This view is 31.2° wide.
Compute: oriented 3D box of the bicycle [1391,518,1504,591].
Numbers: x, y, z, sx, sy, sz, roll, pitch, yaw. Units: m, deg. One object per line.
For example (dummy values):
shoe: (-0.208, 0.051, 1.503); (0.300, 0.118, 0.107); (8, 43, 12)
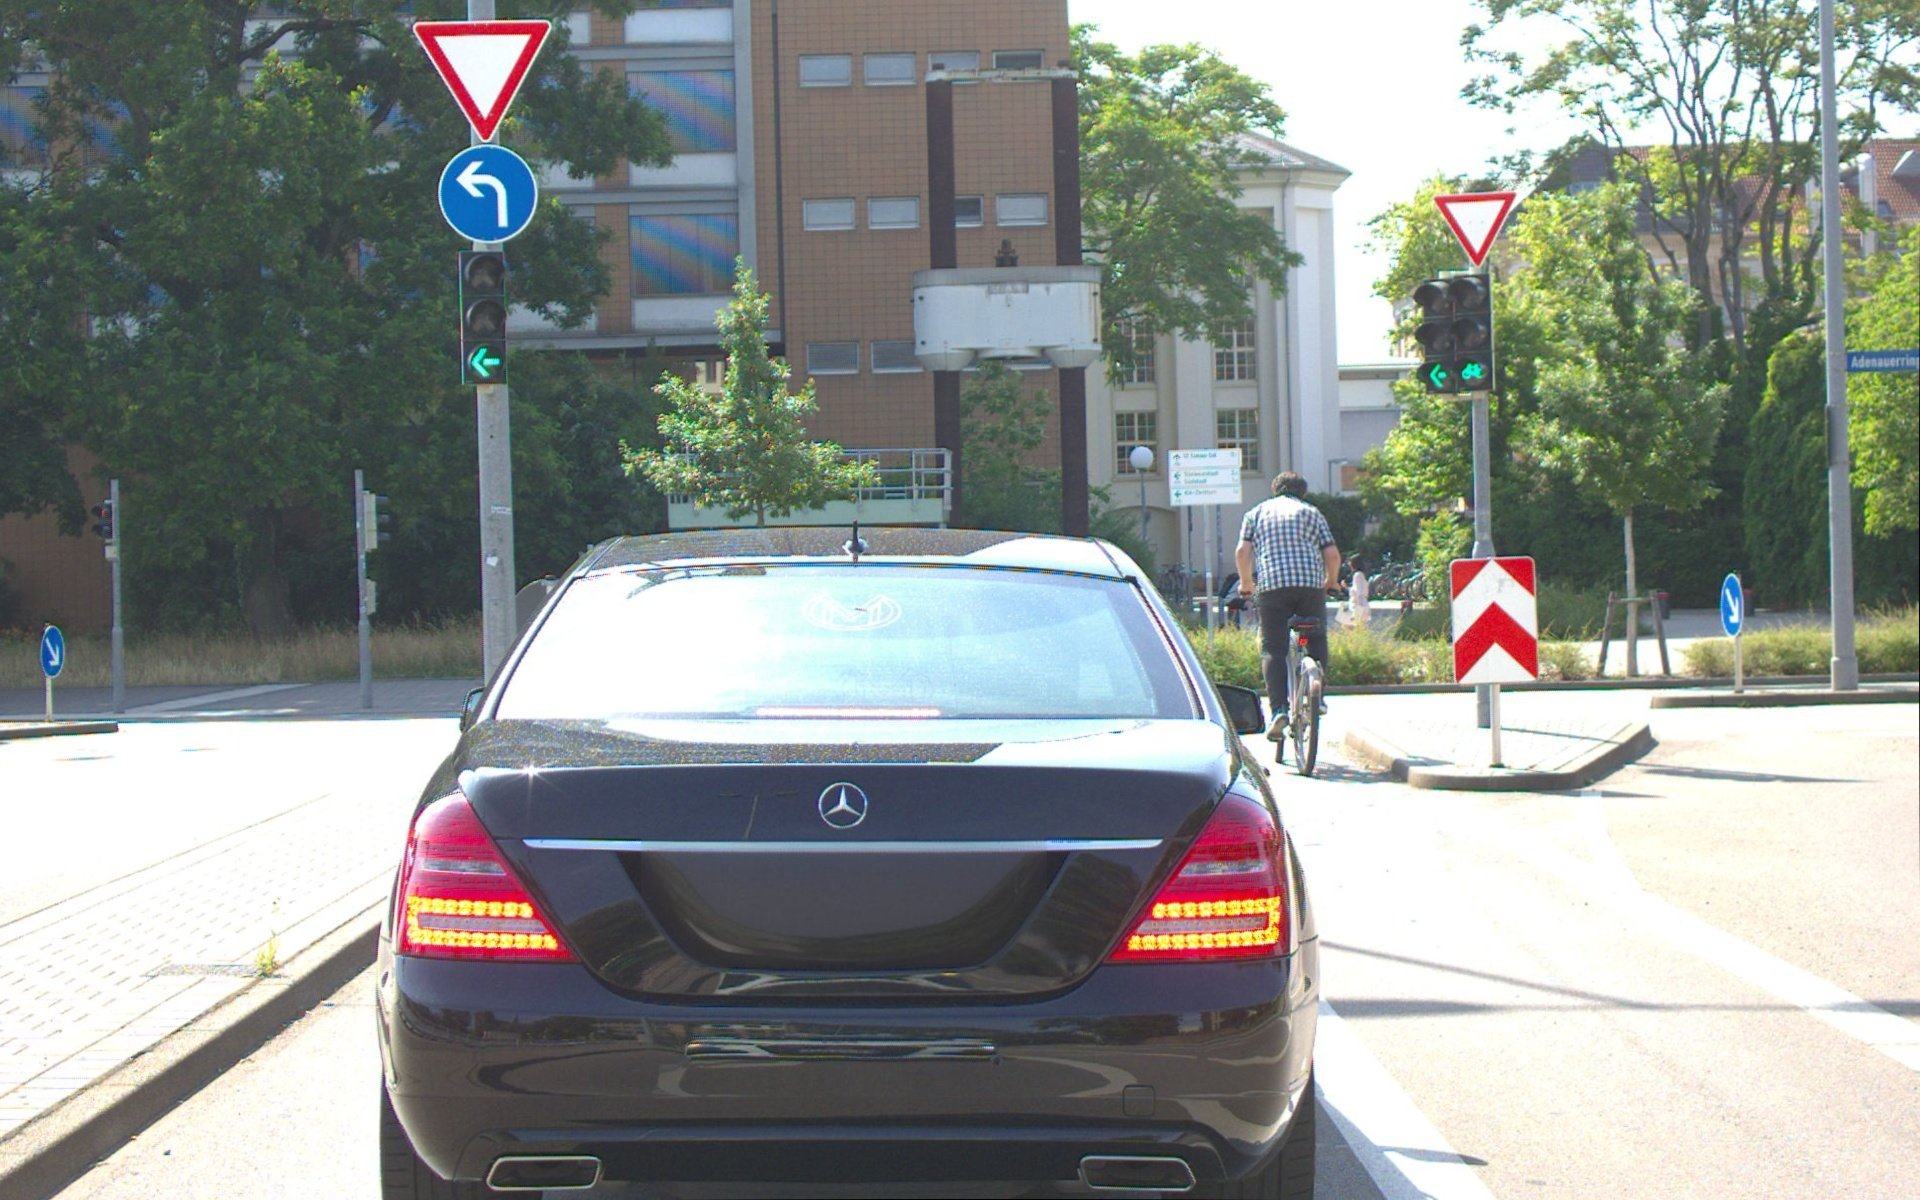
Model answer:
bicycle: (12.976, -1.219, 91.505); (2.823, 1.830, 0.842); (-2, 1, -1)

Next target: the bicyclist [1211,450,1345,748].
bicyclist: (2.036, -0.012, 22.091); (0.685, 1.872, 0.860); (0, 0, -7)

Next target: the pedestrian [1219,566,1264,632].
pedestrian: (5.210, -0.024, 63.669); (0.793, 1.209, 0.757); (1, 0, 6)

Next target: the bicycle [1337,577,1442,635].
bicycle: (12.286, 0.172, 98.371); (2.823, 1.532, 0.842); (-2, 1, -1)

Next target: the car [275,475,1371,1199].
car: (-0.241, 0.533, 8.212); (1.858, 1.525, 4.714); (0, 1, 0)

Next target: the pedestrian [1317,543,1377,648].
pedestrian: (5.904, -0.067, 52.541); (0.811, 1.574, 0.692); (-2, 0, 2)

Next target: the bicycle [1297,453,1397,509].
bicycle: (11.489, -3.529, 102.183); (2.823, 1.553, 0.842); (-2, 1, -1)

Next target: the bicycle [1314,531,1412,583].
bicycle: (12.259, -1.318, 104.527); (2.823, 1.495, 0.842); (-2, 1, -1)

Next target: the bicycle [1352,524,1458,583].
bicycle: (12.584, -1.311, 97.292); (2.823, 1.581, 0.842); (-2, 1, -1)

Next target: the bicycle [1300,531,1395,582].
bicycle: (11.988, -1.351, 106.422); (2.823, 1.475, 0.841); (-2, 1, 0)

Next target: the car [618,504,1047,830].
car: (-0.620, 0.296, 18.138); (1.993, 1.503, 4.000); (1, 1, -1)

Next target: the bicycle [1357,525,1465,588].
bicycle: (12.496, -1.215, 95.242); (2.823, 1.643, 0.842); (-2, 1, -1)

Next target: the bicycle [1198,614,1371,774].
bicycle: (2.053, 0.577, 21.986); (0.692, 0.943, 1.959); (1, 1, -7)

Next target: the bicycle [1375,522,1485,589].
bicycle: (12.816, -1.221, 93.765); (2.823, 1.738, 0.842); (-2, 1, -1)
